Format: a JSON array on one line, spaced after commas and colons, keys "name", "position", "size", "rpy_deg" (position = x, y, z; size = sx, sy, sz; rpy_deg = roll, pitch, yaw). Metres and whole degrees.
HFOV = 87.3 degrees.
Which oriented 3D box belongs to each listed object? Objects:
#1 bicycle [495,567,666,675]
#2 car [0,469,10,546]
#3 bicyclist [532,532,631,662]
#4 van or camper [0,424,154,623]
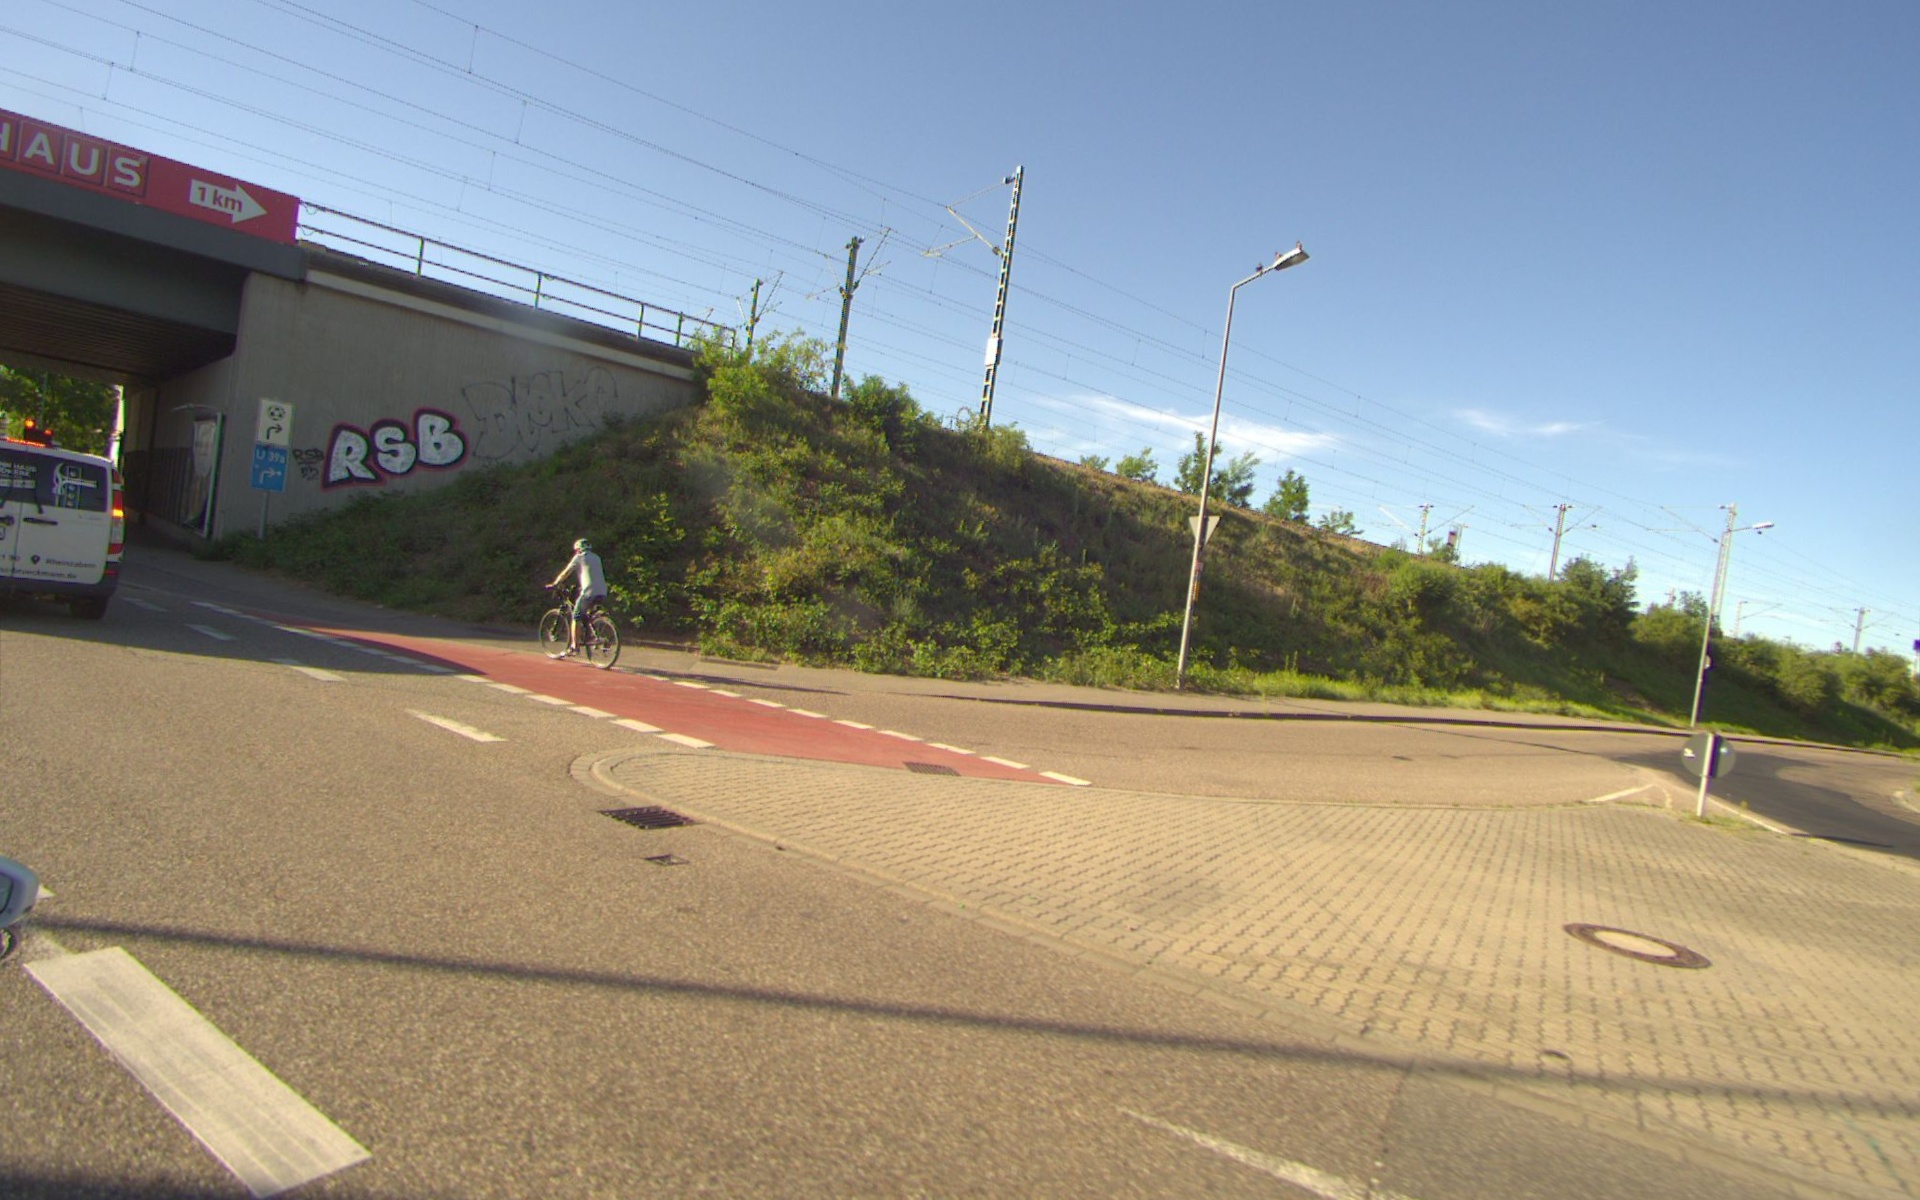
[{"name": "bicycle", "position": [-5.206, 0.267, 13.732], "size": [2.409, 1.127, 0.743], "rpy_deg": [8, 3, 29]}, {"name": "car", "position": [-17.127, -1.624, 16.654], "size": [3.626, 1.451, 1.603], "rpy_deg": [9, 0, 41]}, {"name": "bicyclist", "position": [-5.166, -0.037, 13.739], "size": [0.897, 1.640, 0.746], "rpy_deg": [7, 3, 30]}, {"name": "van or camper", "position": [-11.470, -1.042, 11.793], "size": [4.806, 1.906, 1.958], "rpy_deg": [8, 0, 38]}]
